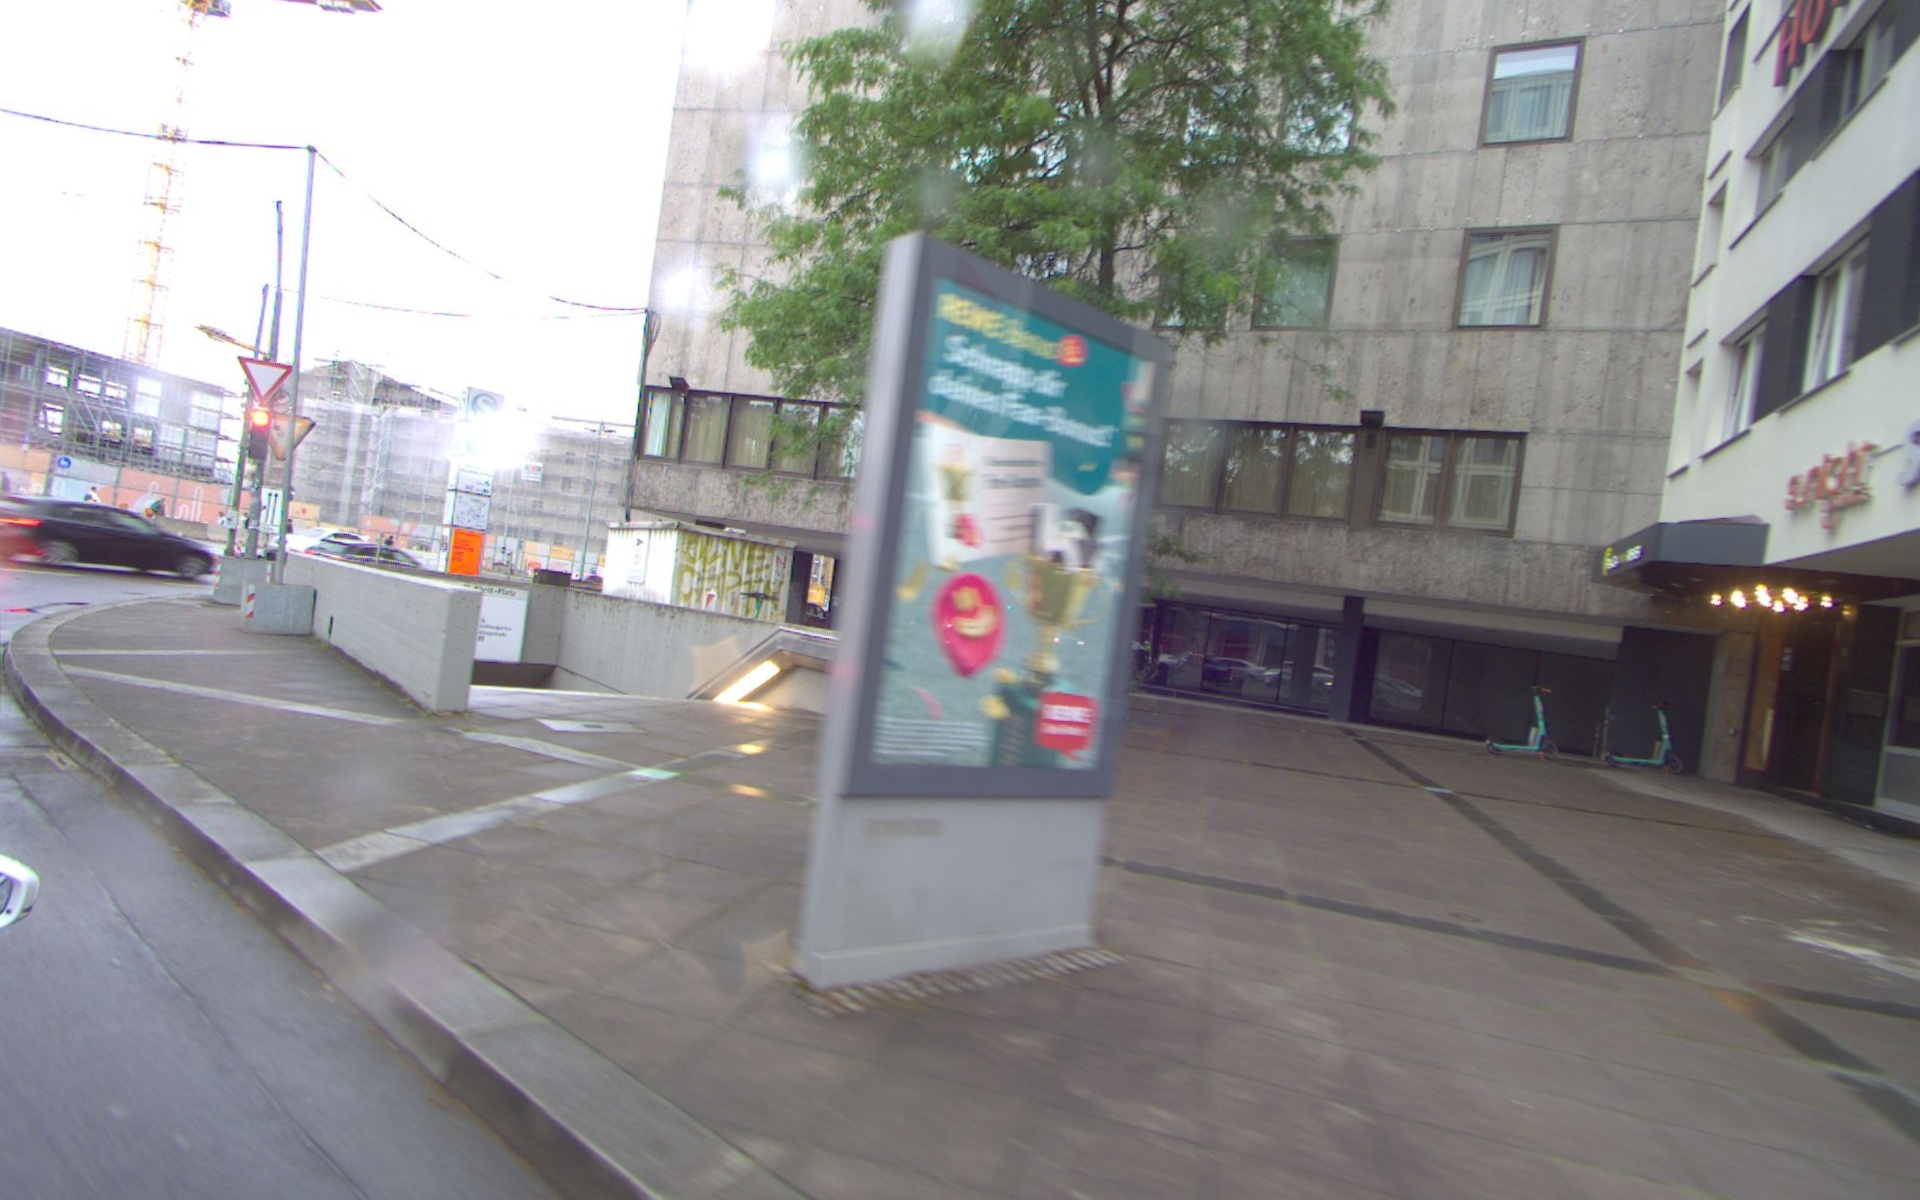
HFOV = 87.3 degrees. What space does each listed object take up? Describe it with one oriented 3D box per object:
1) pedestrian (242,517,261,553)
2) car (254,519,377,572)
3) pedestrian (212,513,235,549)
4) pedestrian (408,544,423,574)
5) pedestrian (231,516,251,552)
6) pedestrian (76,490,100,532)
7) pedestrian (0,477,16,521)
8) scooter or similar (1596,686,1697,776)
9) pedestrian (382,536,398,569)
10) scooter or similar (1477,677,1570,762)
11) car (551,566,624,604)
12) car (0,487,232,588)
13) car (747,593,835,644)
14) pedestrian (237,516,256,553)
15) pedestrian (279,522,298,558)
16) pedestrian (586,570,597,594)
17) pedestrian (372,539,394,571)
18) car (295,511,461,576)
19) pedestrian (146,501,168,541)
[{"bbox_3d":[-39.157,-3.581,55.593,0.355,1.920,0.577,6,-1,21],"label":"pedestrian"},{"bbox_3d":[-27.518,-2.308,43.114,1.962,1.569,4.059,7,-3,14],"label":"car"},{"bbox_3d":[-41.833,-3.923,57.139,0.620,1.923,0.658,7,-1,20],"label":"pedestrian"},{"bbox_3d":[-36.839,-2.774,68.025,0.356,1.920,0.577,6,-1,22],"label":"pedestrian"},{"bbox_3d":[-40.026,-3.676,56.003,0.355,1.920,0.577,6,-1,21],"label":"pedestrian"},{"bbox_3d":[-42.151,-4.302,48.616,0.356,1.920,0.577,6,-1,22],"label":"pedestrian"},{"bbox_3d":[-44.419,-4.689,46.708,0.356,1.920,0.577,6,-1,22],"label":"pedestrian"},{"bbox_3d":[11.735,2.227,17.227,1.208,1.352,0.520,6,-1,21],"label":"scooter or similar"},{"bbox_3d":[-35.158,-2.940,62.027,0.356,1.920,0.577,6,-1,22],"label":"pedestrian"},{"bbox_3d":[9.674,2.037,17.310,1.208,1.269,0.564,6,1,21],"label":"scooter or similar"},{"bbox_3d":[-22.630,-0.882,61.240,1.962,1.727,4.005,7,-3,18],"label":"car"},{"bbox_3d":[-18.690,-1.332,21.853,1.963,1.523,4.115,6,-3,22],"label":"car"},{"bbox_3d":[-7.074,0.816,42.510,1.962,1.658,4.005,7,-3,16],"label":"car"},{"bbox_3d":[-39.589,-3.628,55.802,0.355,1.920,0.577,6,-1,21],"label":"pedestrian"},{"bbox_3d":[-37.299,-3.331,55.915,0.356,1.920,0.577,6,-1,22],"label":"pedestrian"},{"bbox_3d":[-30.372,-1.485,82.863,0.356,1.920,0.577,6,-1,22],"label":"pedestrian"},{"bbox_3d":[-37.011,-2.902,64.539,0.555,1.920,0.800,7,-1,19],"label":"pedestrian"},{"bbox_3d":[-18.512,-1.758,32.216,1.965,1.360,4.113,6,-3,26],"label":"car"},{"bbox_3d":[-40.742,-4.003,51.052,0.356,1.920,0.577,6,-1,22],"label":"pedestrian"}]
